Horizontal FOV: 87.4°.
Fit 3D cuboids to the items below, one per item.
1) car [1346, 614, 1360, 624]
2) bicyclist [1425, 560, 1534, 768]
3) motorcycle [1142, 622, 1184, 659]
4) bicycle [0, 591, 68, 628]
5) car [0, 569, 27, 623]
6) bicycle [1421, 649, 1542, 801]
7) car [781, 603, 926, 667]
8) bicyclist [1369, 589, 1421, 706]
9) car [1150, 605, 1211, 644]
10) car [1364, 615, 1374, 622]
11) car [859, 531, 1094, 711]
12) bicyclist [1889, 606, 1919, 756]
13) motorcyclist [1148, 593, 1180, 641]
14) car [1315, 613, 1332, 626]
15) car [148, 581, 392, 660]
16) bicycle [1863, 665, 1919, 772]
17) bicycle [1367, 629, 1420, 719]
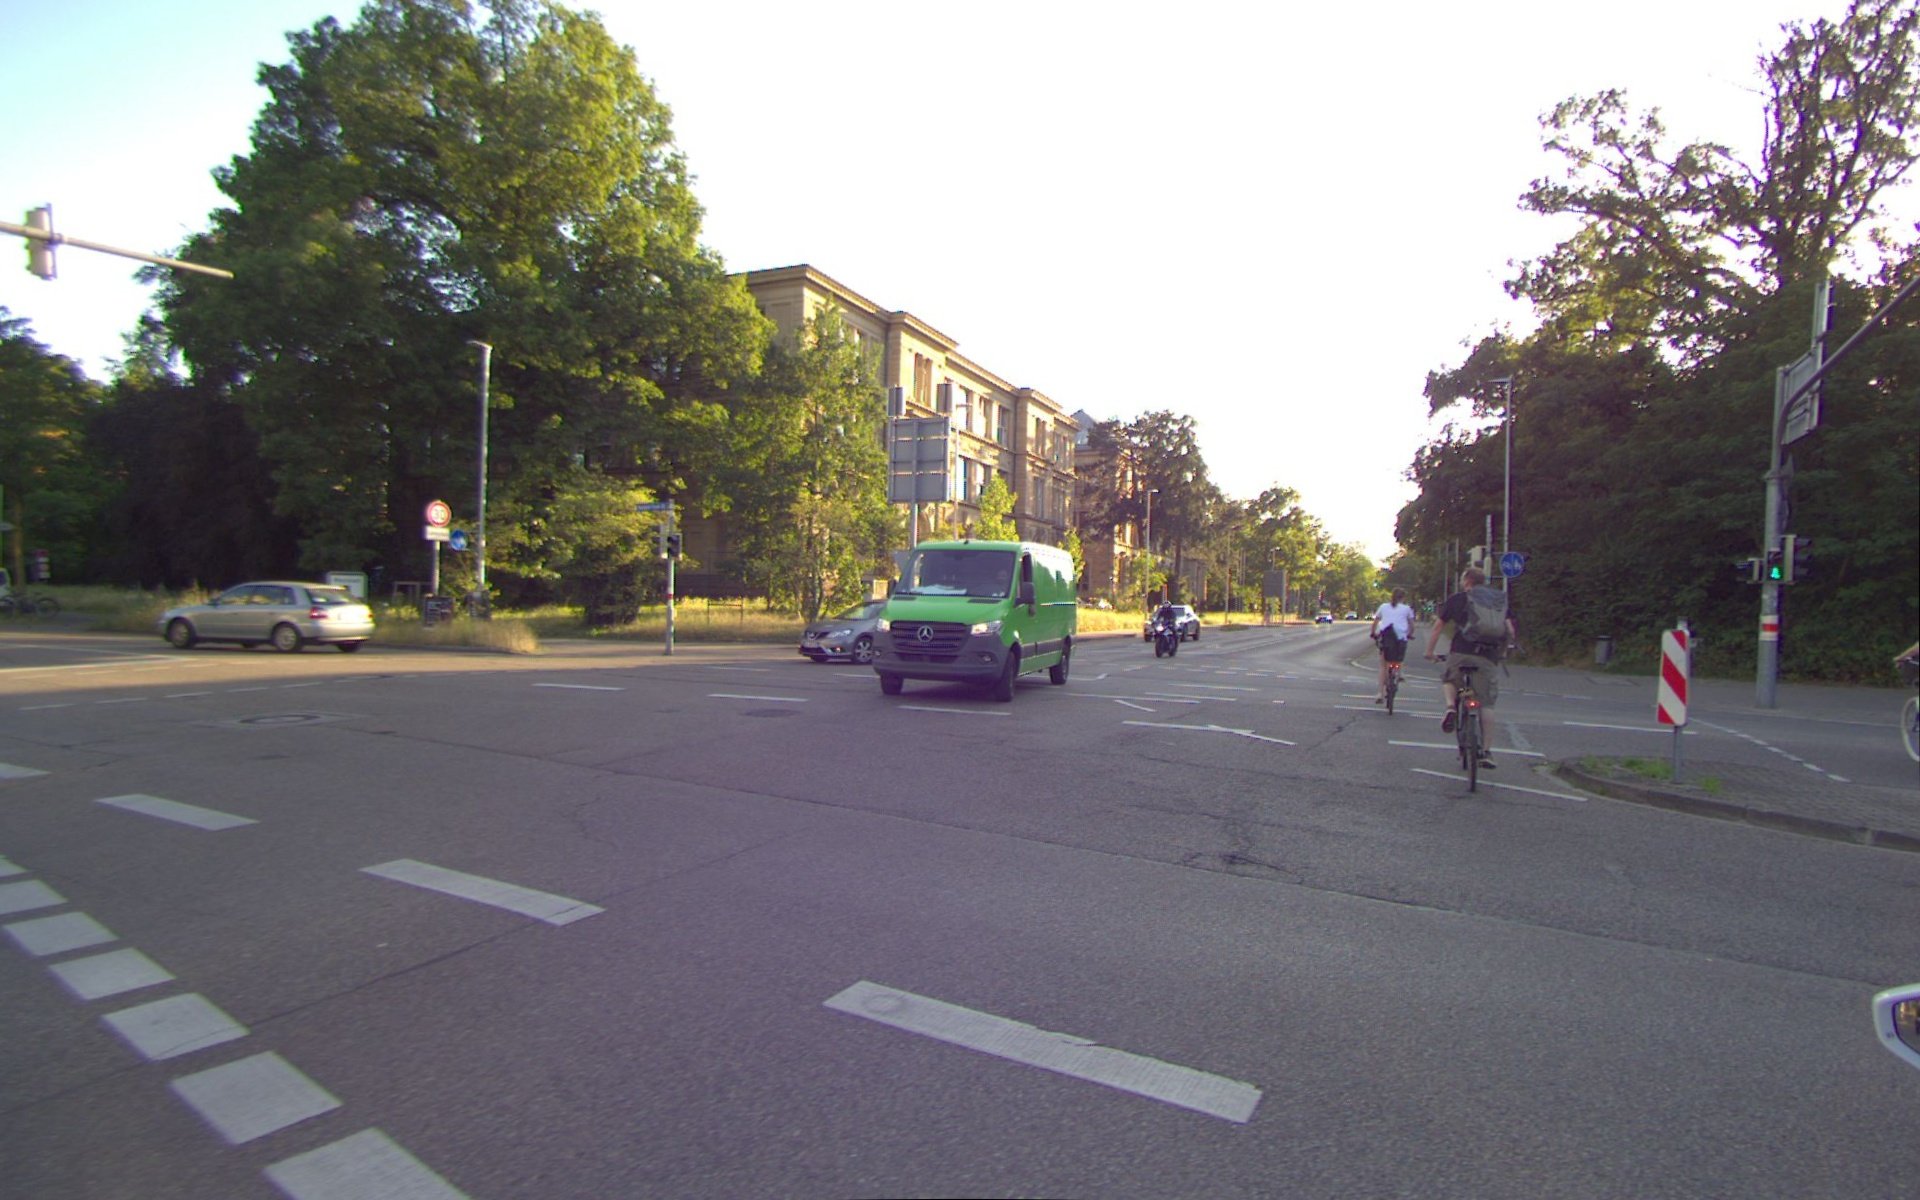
[{"bbox_3d":[64.498,3.128,164.778,1.961,1.662,3.999,2,0,22],"label":"car"},{"bbox_3d":[4.498,0.524,8.750,0.687,1.689,0.798,3,1,21],"label":"bicyclist"},{"bbox_3d":[5.917,1.156,29.212,0.742,1.014,1.877,1,0,25],"label":"motorcycle"},{"bbox_3d":[-31.304,0.318,33.701,0.739,1.171,1.874,3,0,29],"label":"bicycle"},{"bbox_3d":[-35.104,-0.182,35.377,4.042,1.870,1.861,2,0,25],"label":"car"},{"bbox_3d":[4.471,1.015,8.729,0.687,1.077,1.825,3,0,21],"label":"bicycle"},{"bbox_3d":[-2.421,0.782,23.668,1.737,1.346,3.640,1,0,25],"label":"car"},{"bbox_3d":[6.288,0.664,14.501,0.594,1.607,0.909,3,1,25],"label":"bicyclist"},{"bbox_3d":[10.221,1.117,46.294,1.737,1.657,4.508,1,0,26],"label":"car"},{"bbox_3d":[87.365,3.936,214.414,1.961,1.283,3.998,2,0,23],"label":"car"},{"bbox_3d":[0.559,0.293,16.072,2.005,2.308,5.942,1,0,19],"label":"car"},{"bbox_3d":[10.302,0.844,10.389,0.748,1.538,0.856,2,0,26],"label":"bicyclist"},{"bbox_3d":[5.931,0.497,29.212,0.738,1.376,0.703,1,-1,25],"label":"motorcyclist"},{"bbox_3d":[44.309,2.394,122.415,1.741,1.494,3.775,2,0,21],"label":"car"},{"bbox_3d":[-14.137,0.399,20.673,4.055,1.427,1.736,1,0,9],"label":"car"},{"bbox_3d":[10.336,1.258,10.501,0.759,1.020,2.014,2,0,25],"label":"bicycle"},{"bbox_3d":[6.270,1.026,14.480,0.603,1.153,1.882,2,0,25],"label":"bicycle"}]
